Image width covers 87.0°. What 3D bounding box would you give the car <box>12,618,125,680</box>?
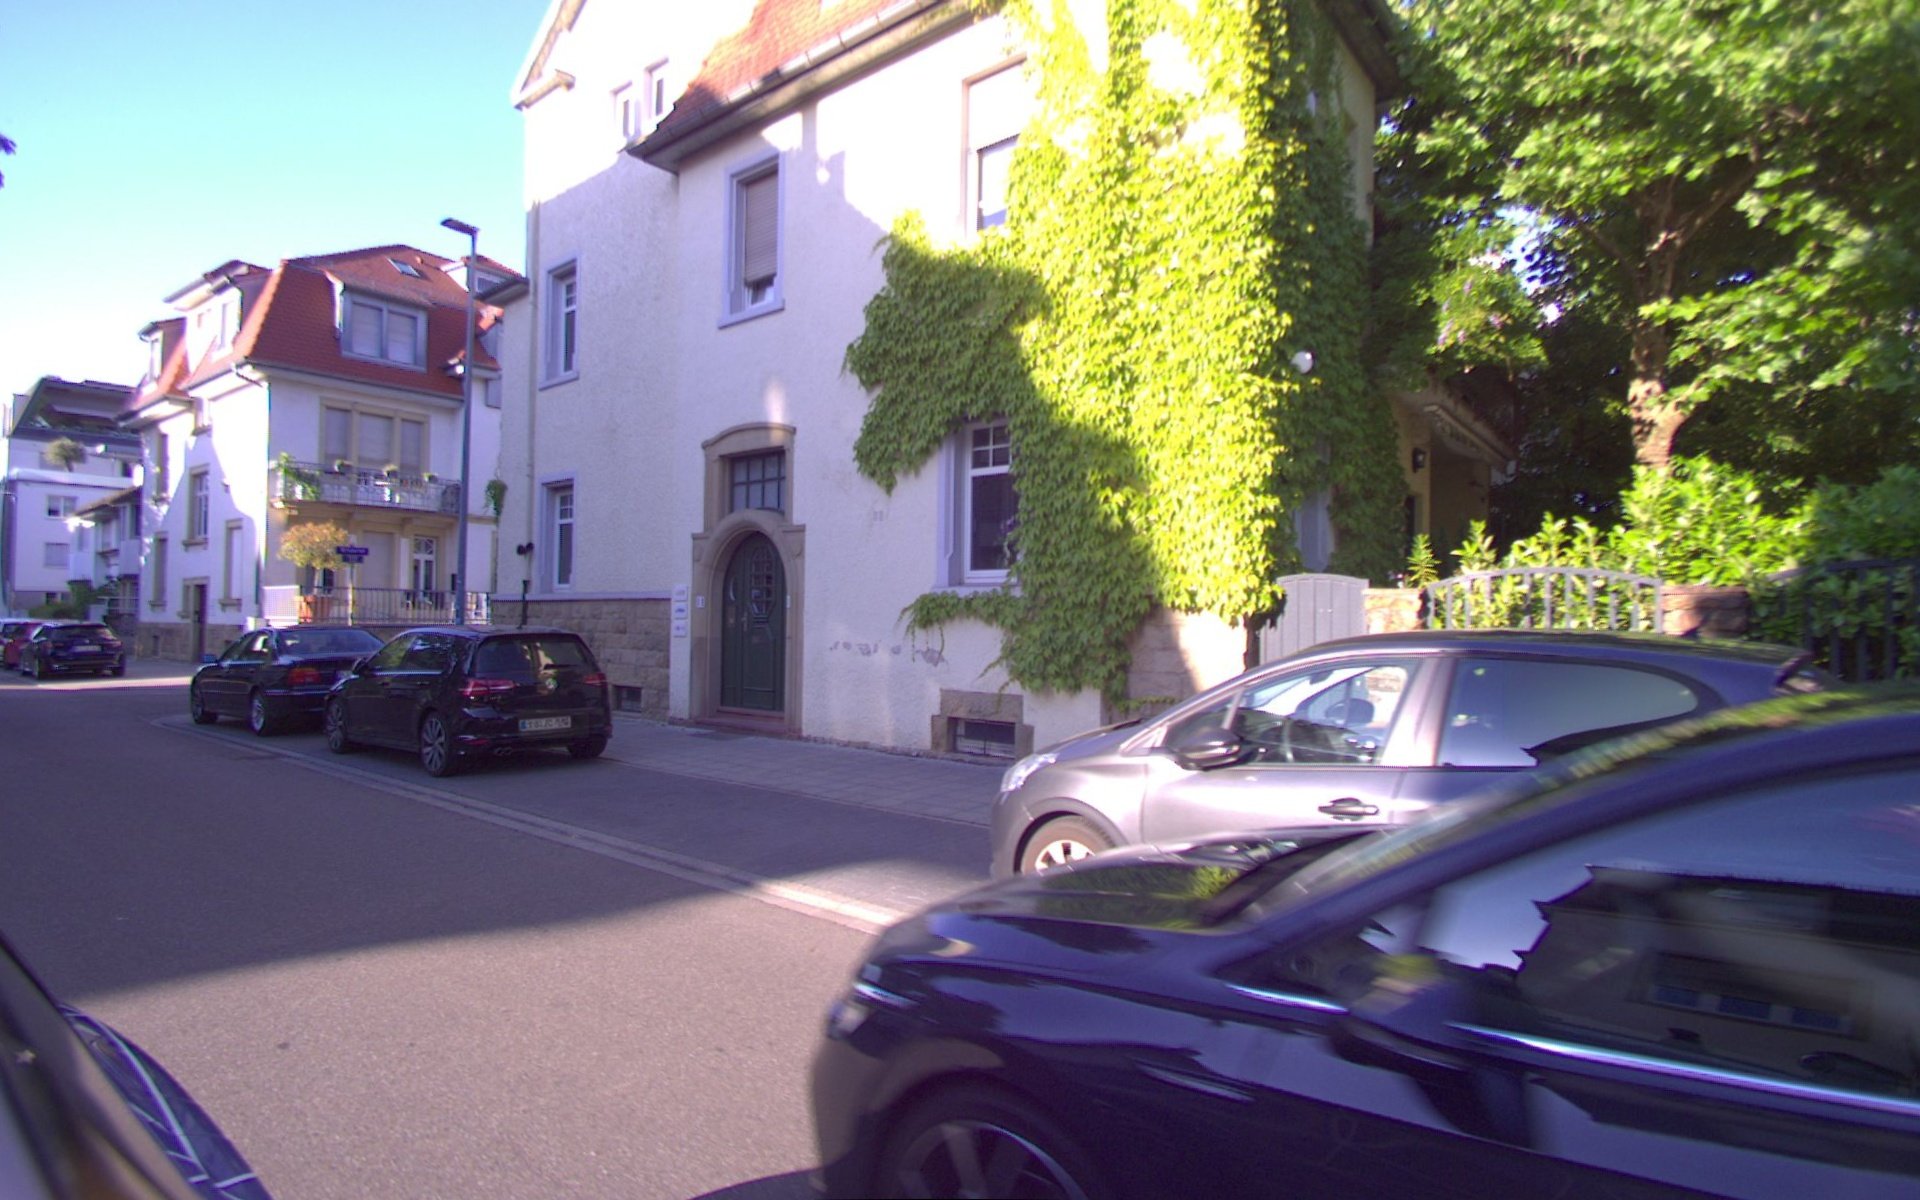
[{"bbox_3d":[-23.395,1.226,26.495,4.628,1.465,1.636,-1,-1,41],"label":"car"}]

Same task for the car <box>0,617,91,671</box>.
[{"bbox_3d":[-27.440,1.273,30.156,3.700,1.488,1.567,-1,-1,37],"label":"car"}]

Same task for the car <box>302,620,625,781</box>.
[{"bbox_3d":[-5.501,0.938,10.984,4.164,1.426,1.637,-1,-1,40],"label":"car"}]

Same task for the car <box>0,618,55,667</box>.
[{"bbox_3d":[-30.862,1.347,32.916,3.703,1.532,1.566,-1,-1,39],"label":"car"}]

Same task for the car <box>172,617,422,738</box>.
[{"bbox_3d":[-9.592,0.992,14.490,4.628,1.481,1.692,-1,-1,39],"label":"car"}]

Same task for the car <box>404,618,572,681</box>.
[{"bbox_3d":[-12.591,1.311,27.175,1.758,1.571,3.728,-3,-3,36],"label":"car"}]

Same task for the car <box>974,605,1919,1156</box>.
[{"bbox_3d":[2.104,0.769,4.159,4.003,1.458,1.636,-1,-1,41],"label":"car"}]

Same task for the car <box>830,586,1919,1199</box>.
[{"bbox_3d":[1.827,0.744,1.367,3.997,1.460,1.754,-1,-3,41],"label":"car"}]
